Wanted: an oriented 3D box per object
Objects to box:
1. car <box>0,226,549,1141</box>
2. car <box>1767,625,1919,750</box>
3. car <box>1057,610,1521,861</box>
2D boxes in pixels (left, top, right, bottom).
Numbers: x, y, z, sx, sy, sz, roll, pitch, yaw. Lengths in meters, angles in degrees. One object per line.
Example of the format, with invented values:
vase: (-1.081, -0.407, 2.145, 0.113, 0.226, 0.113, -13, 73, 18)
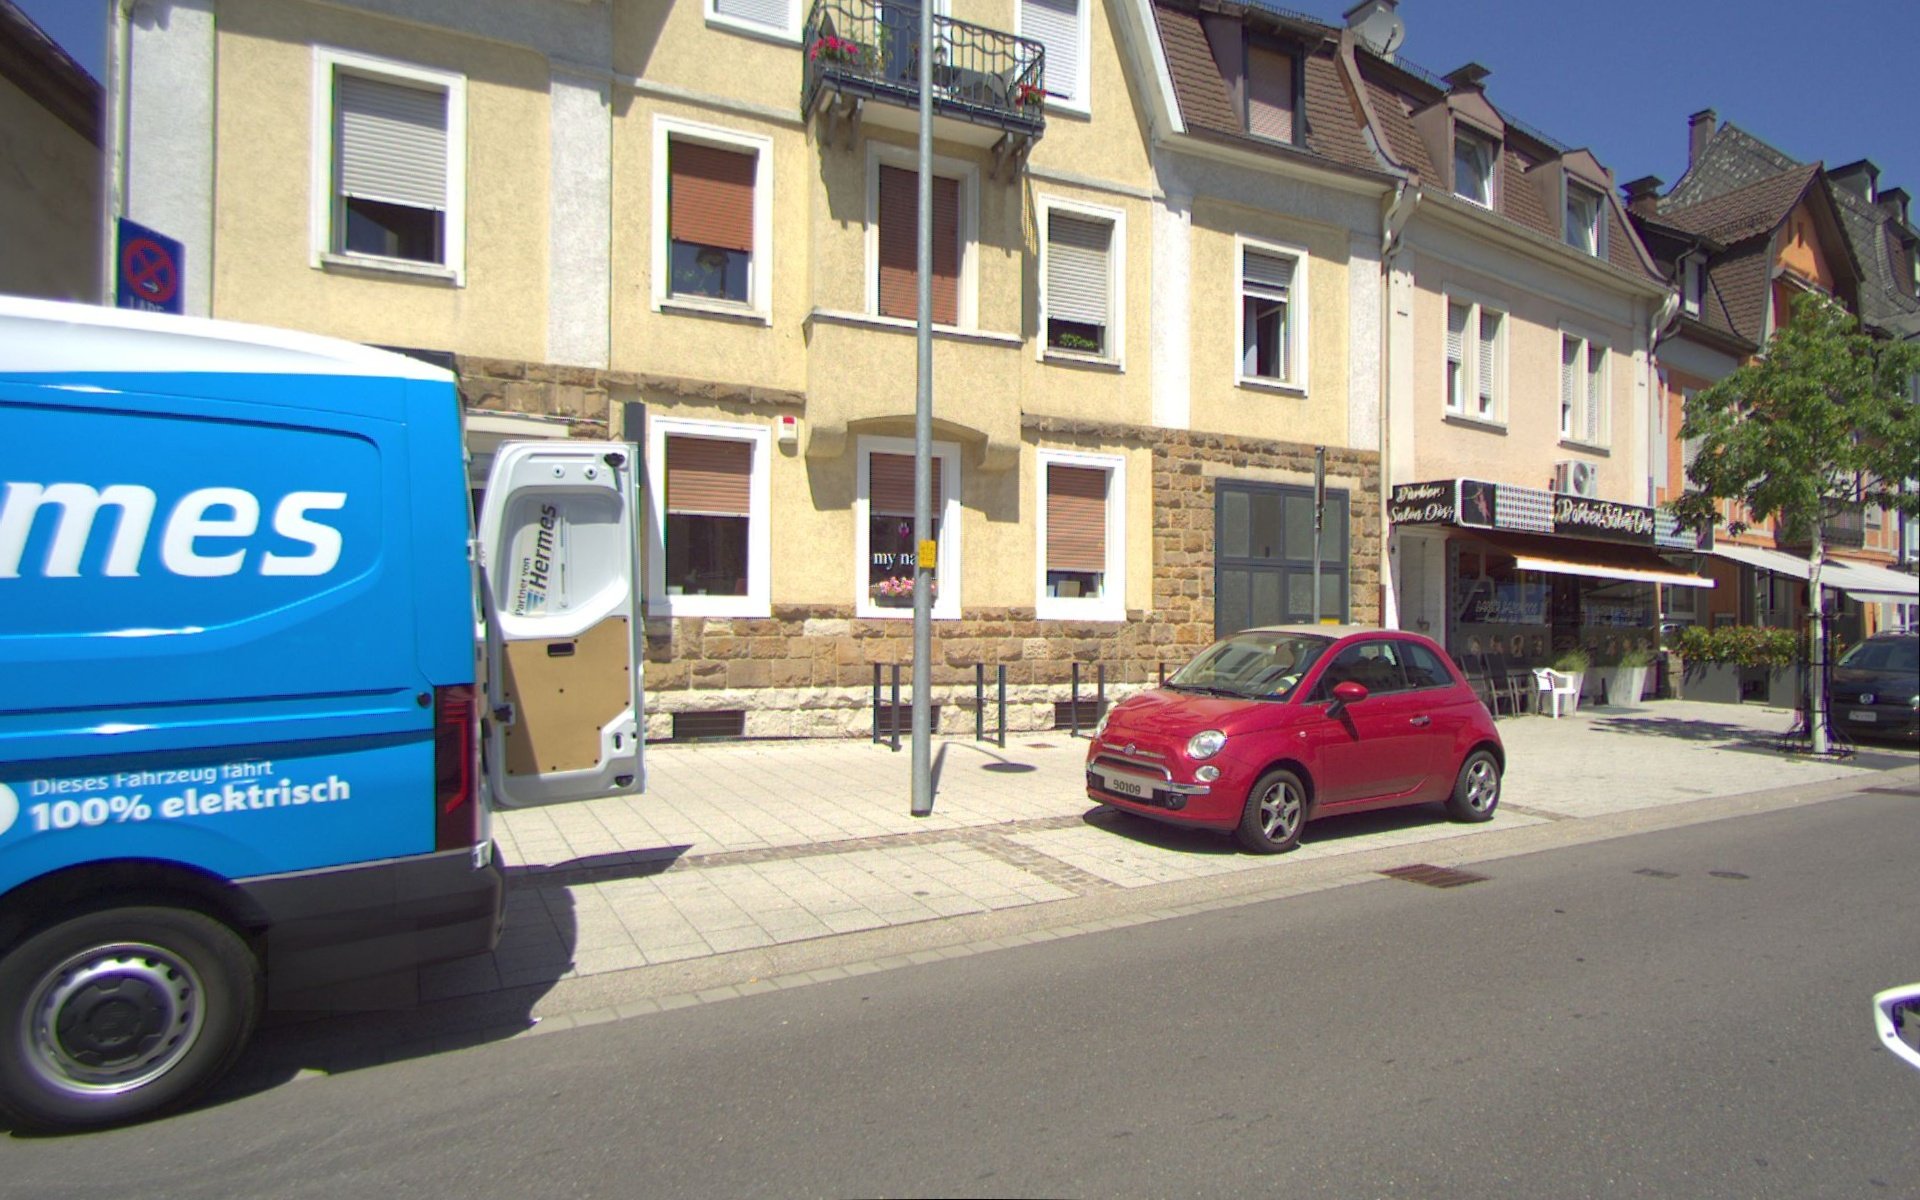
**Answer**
car: (-4.300, 0.199, 3.052, 5.436, 2.531, 2.083, 1, 0, -29)
car: (13.592, 1.164, 14.330, 4.289, 1.501, 1.905, 1, 1, -32)
car: (2.619, 0.901, 7.796, 3.477, 1.541, 1.551, 2, -1, -32)
